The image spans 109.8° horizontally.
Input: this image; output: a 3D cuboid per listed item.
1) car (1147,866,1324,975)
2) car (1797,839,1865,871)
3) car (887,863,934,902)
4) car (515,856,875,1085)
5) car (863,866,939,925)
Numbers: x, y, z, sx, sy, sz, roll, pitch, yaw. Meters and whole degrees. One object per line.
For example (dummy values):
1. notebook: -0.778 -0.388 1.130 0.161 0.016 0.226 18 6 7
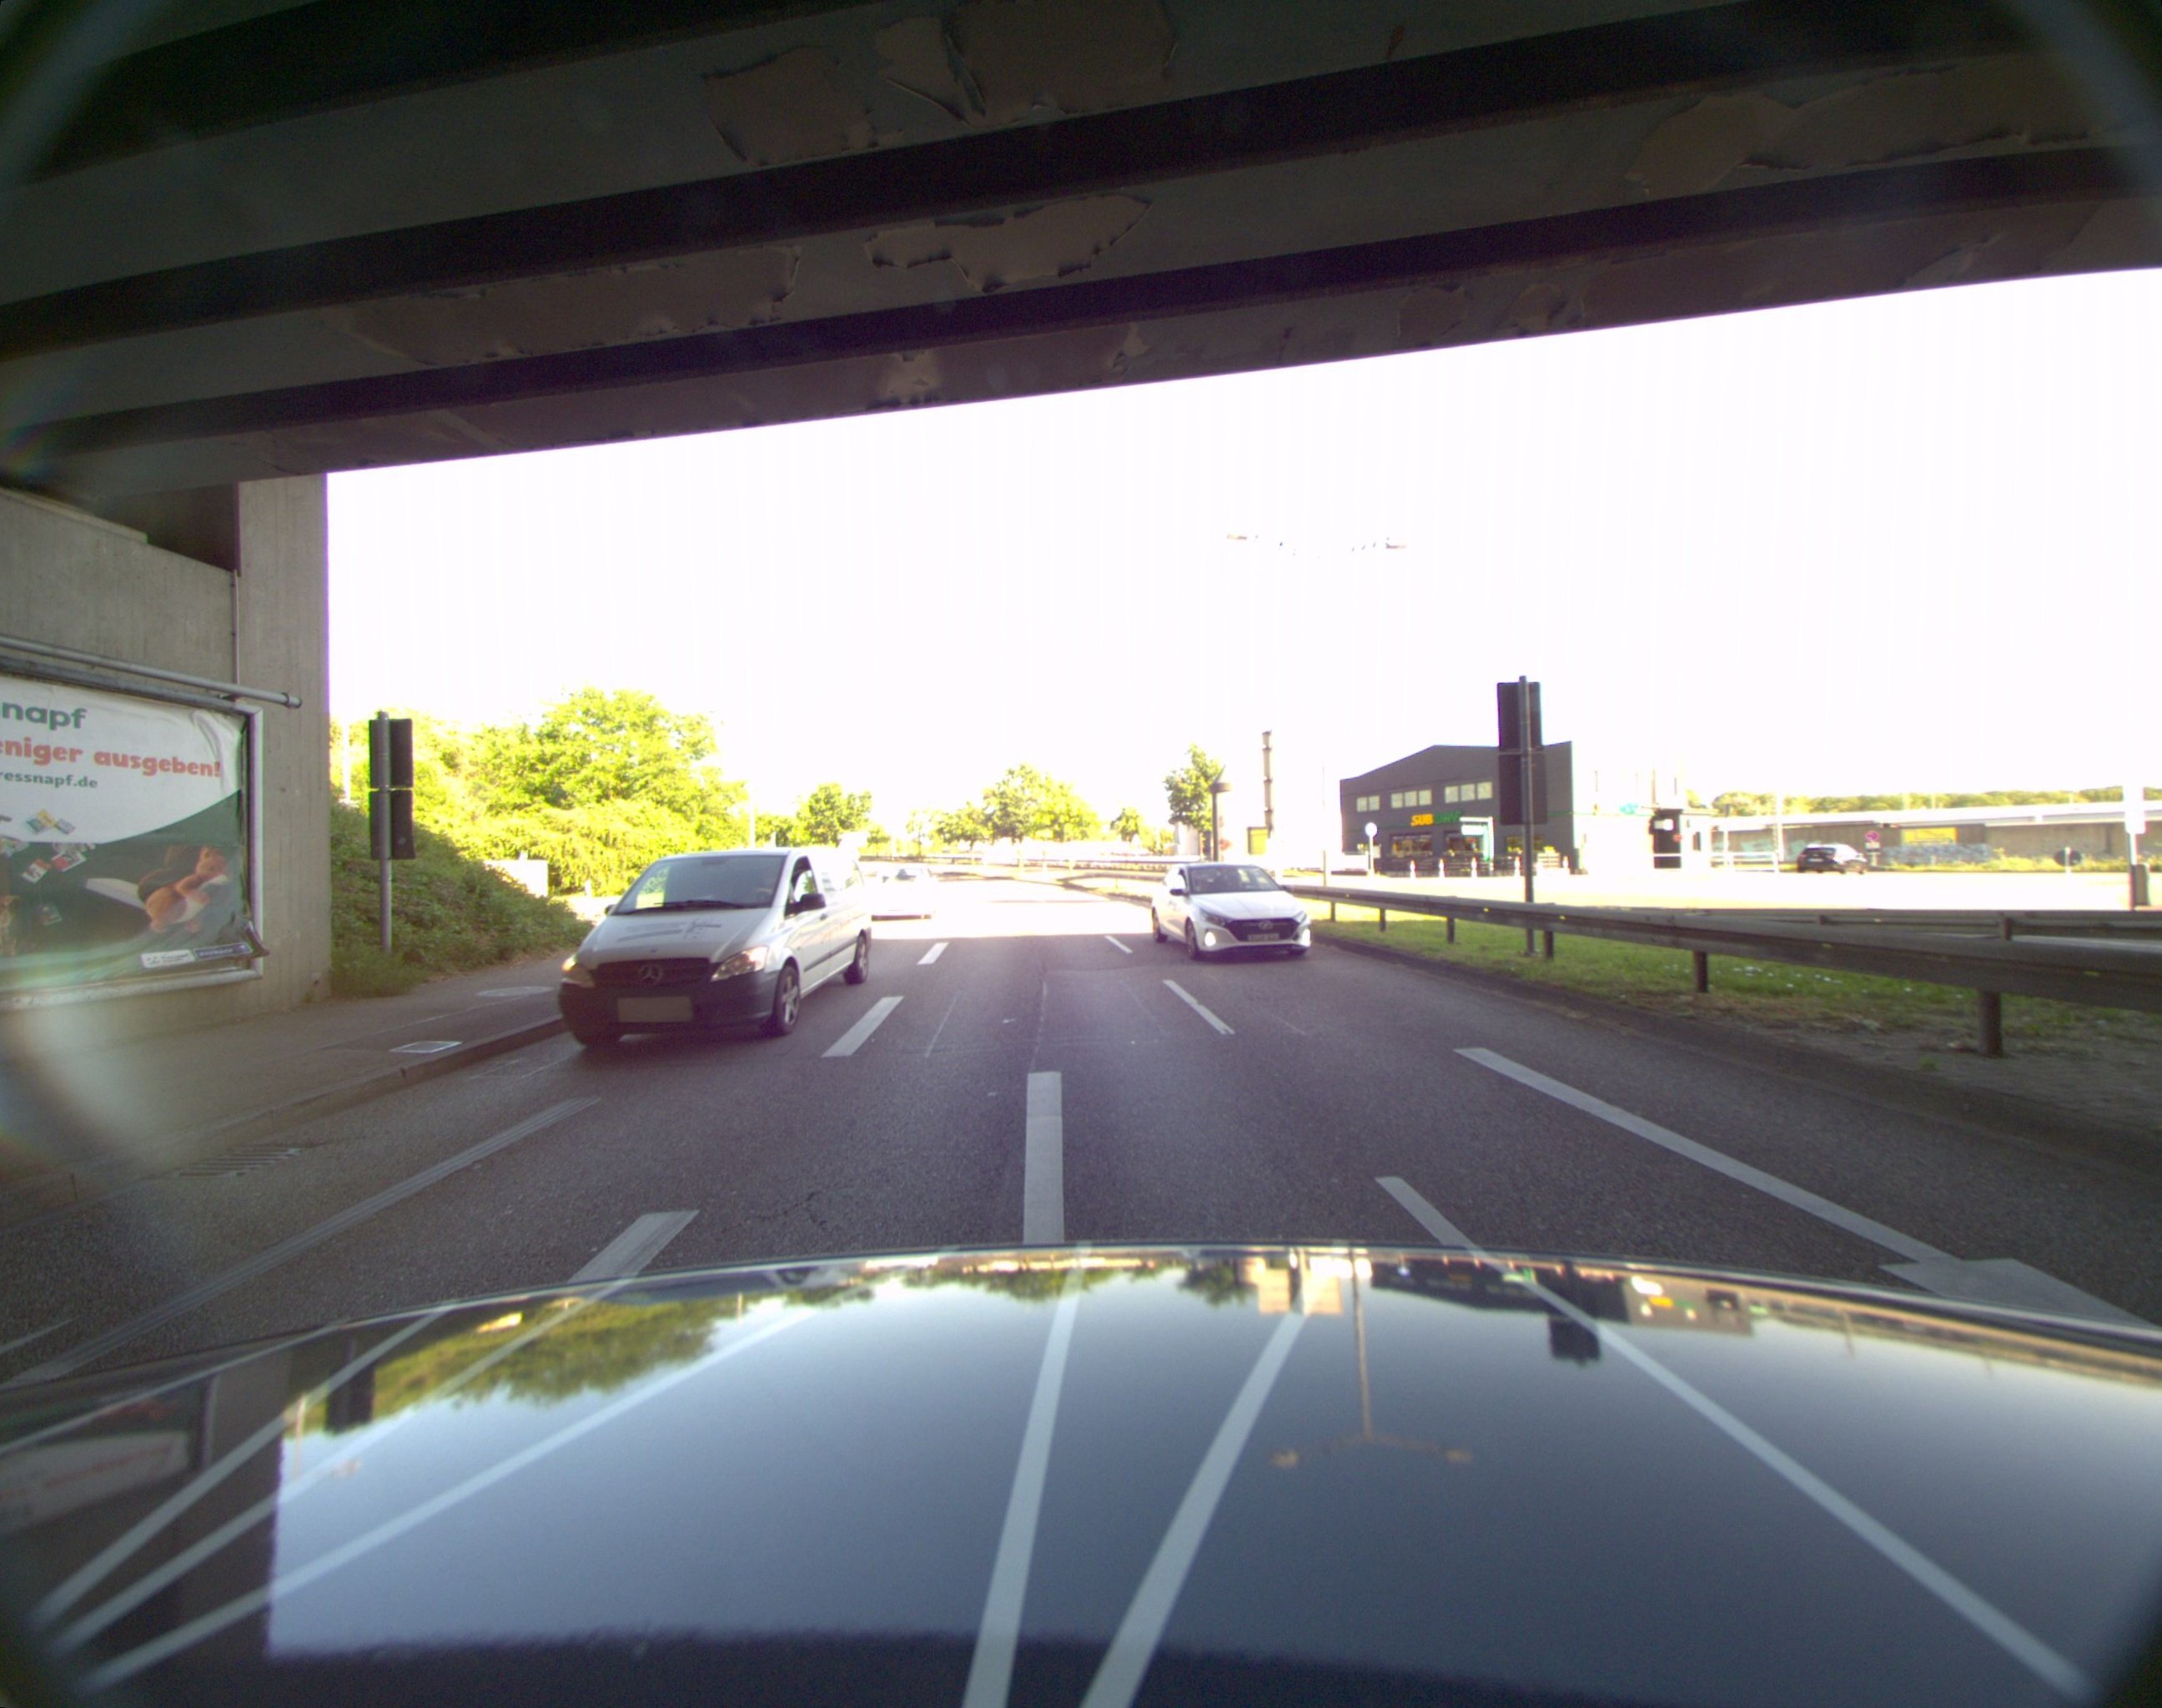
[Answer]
1. car: 2.308 0.940 12.411 1.737 1.395 3.869 -2 0 -6
2. car: 38.416 0.044 38.883 4.007 1.434 1.878 -3 1 -37
3. car: -7.939 1.270 35.093 1.781 1.591 4.099 -3 1 -16
4. car: -3.851 0.970 8.753 1.903 1.825 4.833 -2 0 -4
5. car: -5.601 1.238 24.130 2.000 1.542 4.417 -2 0 -9
